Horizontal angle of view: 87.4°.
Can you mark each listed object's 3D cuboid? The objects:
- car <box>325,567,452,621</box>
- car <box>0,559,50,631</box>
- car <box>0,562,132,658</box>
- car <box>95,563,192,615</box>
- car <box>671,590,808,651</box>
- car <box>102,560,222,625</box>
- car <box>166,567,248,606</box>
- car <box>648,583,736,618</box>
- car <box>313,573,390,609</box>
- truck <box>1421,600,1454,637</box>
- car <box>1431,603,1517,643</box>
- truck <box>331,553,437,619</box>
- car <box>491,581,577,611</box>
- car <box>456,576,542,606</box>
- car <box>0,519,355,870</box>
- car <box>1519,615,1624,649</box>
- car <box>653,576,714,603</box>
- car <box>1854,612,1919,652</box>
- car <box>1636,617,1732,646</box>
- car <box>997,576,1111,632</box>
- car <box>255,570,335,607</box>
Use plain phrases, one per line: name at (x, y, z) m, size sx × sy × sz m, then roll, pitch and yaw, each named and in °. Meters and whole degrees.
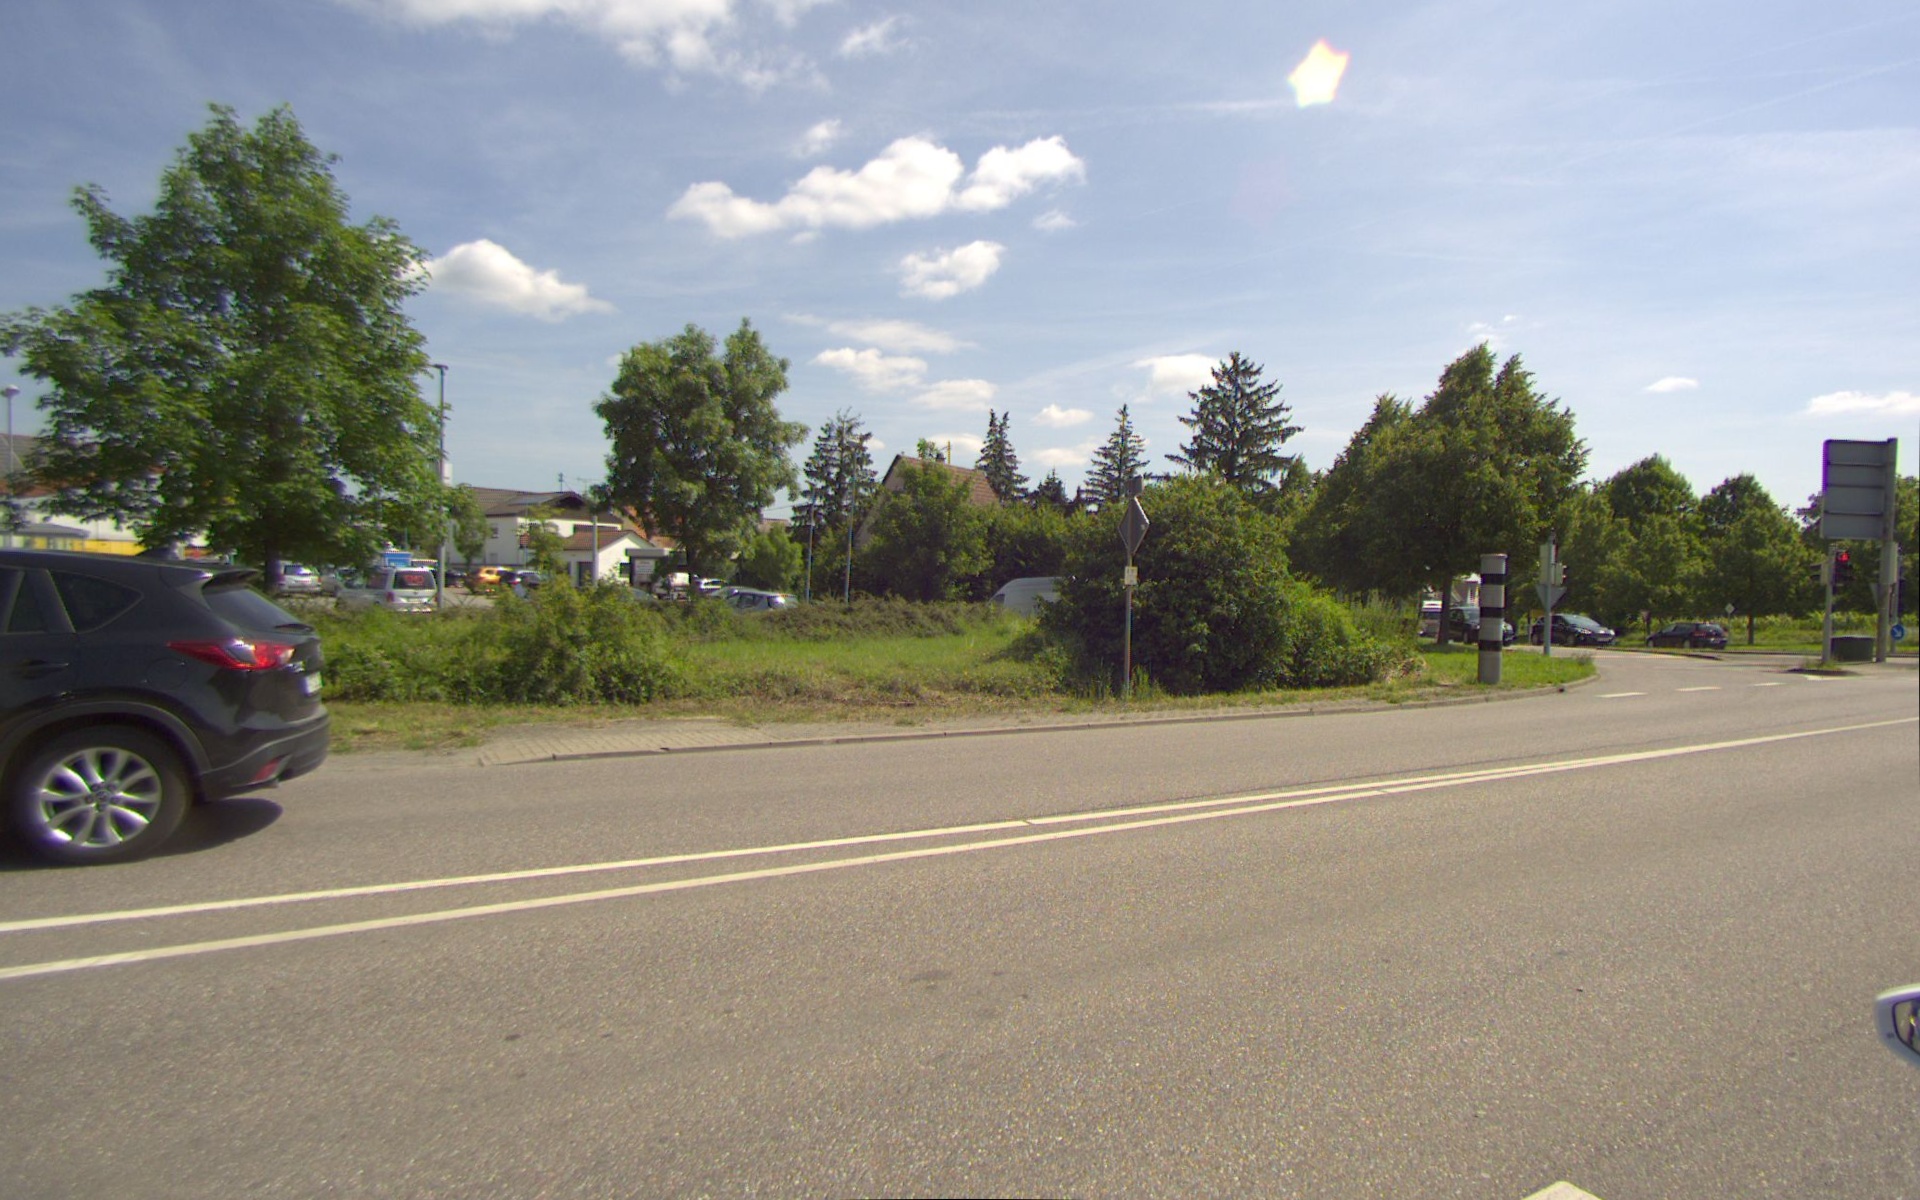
car at (-19.311, -0.226, 33.905) m, size 4.353 × 1.717 × 1.994 m, roll 1°, pitch 0°, yaw 34°
car at (-24.800, -0.187, 25.577) m, size 3.939 × 1.697 × 1.903 m, roll 3°, pitch 1°, yaw 40°
car at (-17.553, 0.153, 19.474) m, size 3.941 × 1.679 × 1.686 m, roll 2°, pitch 0°, yaw 42°
car at (-26.505, -0.364, 32.574) m, size 3.941 × 1.549 × 1.770 m, roll 2°, pitch 0°, yaw 41°
car at (-7.075, 0.628, 32.211) m, size 3.928 × 1.751 × 1.997 m, roll 2°, pitch 0°, yaw 29°
car at (-22.843, -0.221, 28.697) m, size 3.939 × 1.711 × 1.918 m, roll 2°, pitch 0°, yaw 40°
car at (-32.393, -0.597, 43.185) m, size 4.193 × 1.562 × 1.871 m, roll 2°, pitch 0°, yaw 40°
car at (-13.576, 0.047, 51.035) m, size 1.883 × 1.662 × 3.984 m, roll 2°, pitch 0°, yaw 38°
car at (-29.003, -0.445, 47.838) m, size 4.193 × 1.562 × 1.871 m, roll 2°, pitch 0°, yaw 40°
truck at (53.347, 2.066, 112.110) m, size 2.893 × 3.848 × 7.916 m, roll 2°, pitch 0°, yaw 28°
car at (22.113, 0.976, 43.367) m, size 1.773 × 1.619 × 4.271 m, roll 0°, pitch -1°, yaw 4°
truck at (-22.334, -0.547, 38.935) m, size 3.932 × 2.397 × 1.994 m, roll 2°, pitch 0°, yaw 34°
car at (-24.542, -0.216, 57.988) m, size 1.849 × 1.562 × 4.243 m, roll 2°, pitch 0°, yaw 37°
car at (-27.119, -0.505, 59.244) m, size 1.849 × 1.562 × 4.243 m, roll 2°, pitch 0°, yaw 37°
car at (-5.865, 0.458, 5.600) m, size 4.056 × 1.773 × 1.860 m, roll 2°, pitch 0°, yaw -26°
car at (26.636, 1.366, 43.903) m, size 1.709 × 1.322 × 4.277 m, roll 0°, pitch 0°, yaw -6°
car at (-20.165, -0.745, 73.429) m, size 1.866 × 1.782 × 3.988 m, roll 2°, pitch 0°, yaw 35°
car at (37.061, 1.256, 38.534) m, size 1.510 × 1.511 × 4.000 m, roll 2°, pitch 0°, yaw -11°
car at (36.678, 1.575, 51.032) m, size 1.708 × 1.322 × 4.280 m, roll 1°, pitch 0°, yaw -2°
car at (4.030, 0.142, 43.583) m, size 4.524 × 2.209 × 1.992 m, roll 2°, pitch 1°, yaw 37°
car at (-30.281, -0.523, 45.695) m, size 4.193 × 1.562 × 1.871 m, roll 2°, pitch 0°, yaw 40°
